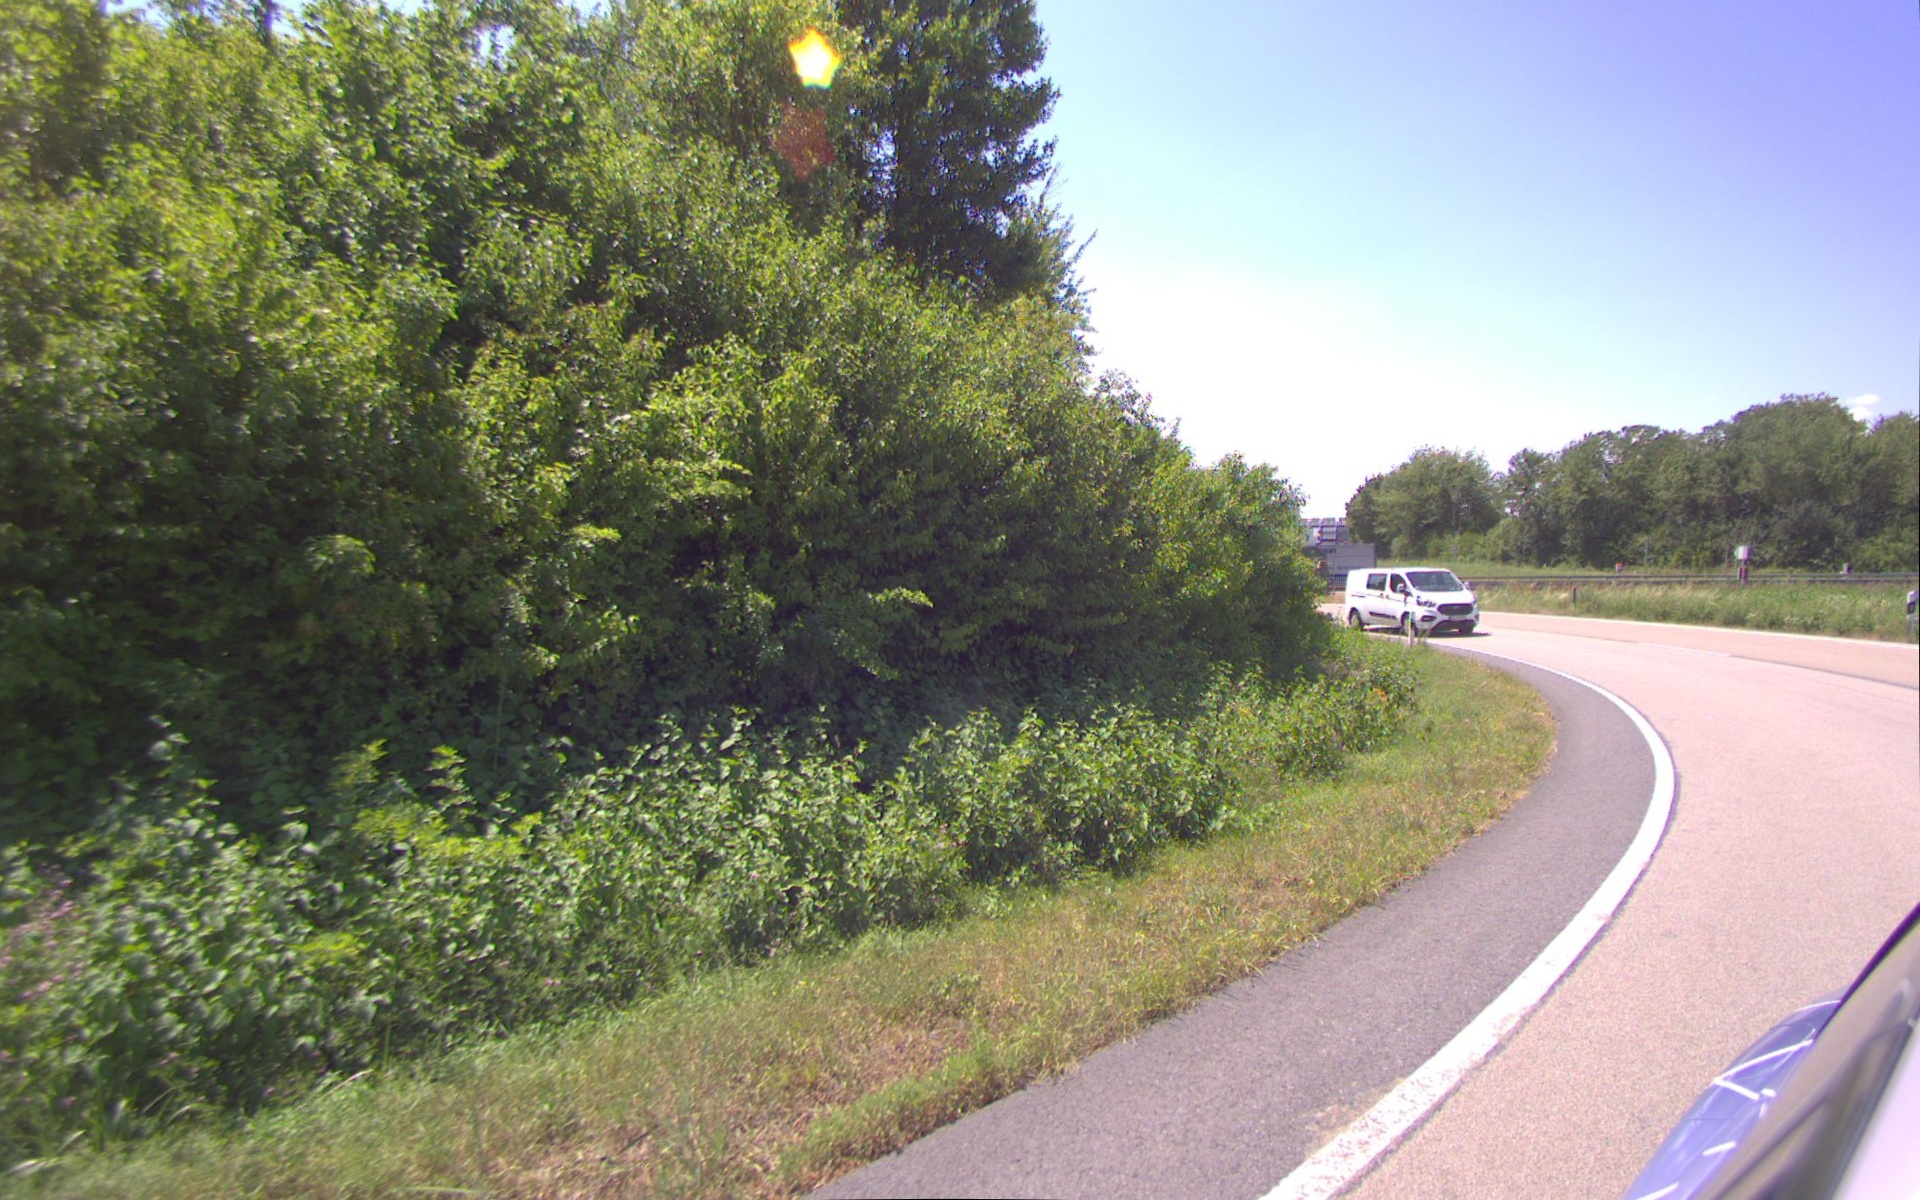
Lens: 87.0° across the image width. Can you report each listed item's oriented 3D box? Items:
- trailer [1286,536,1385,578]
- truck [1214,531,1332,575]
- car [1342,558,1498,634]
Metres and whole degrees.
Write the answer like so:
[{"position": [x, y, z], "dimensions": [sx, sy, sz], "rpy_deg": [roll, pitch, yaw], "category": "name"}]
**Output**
[{"position": [29.684, -3.402, 80.062], "dimensions": [7.151, 3.046, 2.285], "rpy_deg": [-1, 1, 27], "category": "trailer"}, {"position": [23.404, -3.441, 75.802], "dimensions": [8.124, 3.100, 2.580], "rpy_deg": [0, 2, 27], "category": "truck"}, {"position": [14.028, -0.210, 31.268], "dimensions": [2.023, 2.038, 5.048], "rpy_deg": [-3, 2, -5], "category": "car"}]
